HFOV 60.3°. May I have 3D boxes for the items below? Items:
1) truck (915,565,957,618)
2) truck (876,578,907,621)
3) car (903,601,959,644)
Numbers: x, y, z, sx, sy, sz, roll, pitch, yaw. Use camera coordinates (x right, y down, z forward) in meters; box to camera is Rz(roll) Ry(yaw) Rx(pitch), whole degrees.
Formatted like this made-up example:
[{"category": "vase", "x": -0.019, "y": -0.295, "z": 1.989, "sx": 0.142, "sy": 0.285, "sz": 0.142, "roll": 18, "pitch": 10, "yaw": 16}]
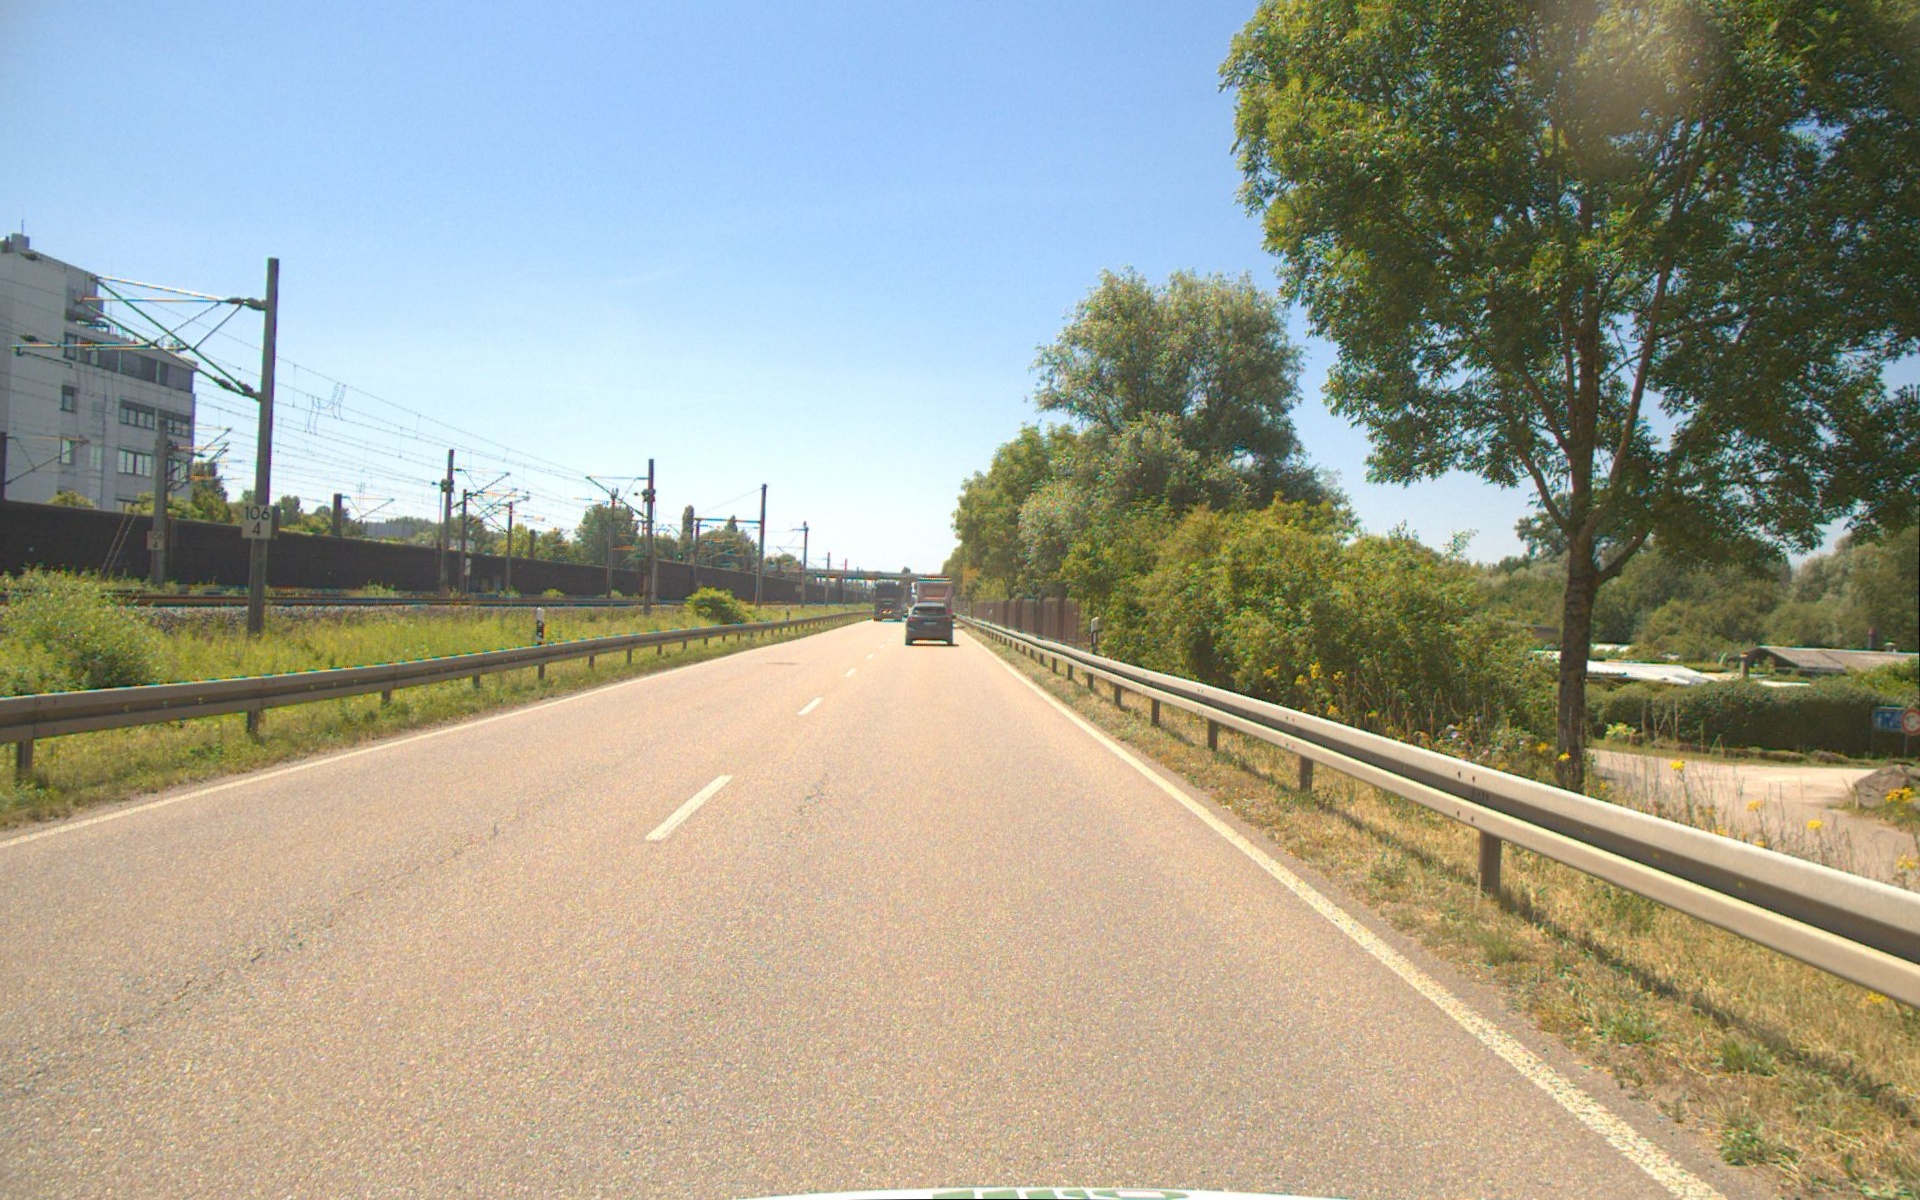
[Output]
[{"category": "truck", "x": -1.707, "y": -0.531, "z": 116.478, "sx": 2.714, "sy": 3.485, "sz": 10.816, "roll": 1, "pitch": 0, "yaw": -1}, {"category": "truck", "x": -6.234, "y": -0.085, "z": 150.608, "sx": 2.605, "sy": 3.690, "sz": 10.973, "roll": 1, "pitch": 0, "yaw": -2}, {"category": "car", "x": -1.142, "y": 0.824, "z": 62.861, "sx": 1.954, "sy": 1.534, "sz": 3.997, "roll": 1, "pitch": 0, "yaw": -3}]
